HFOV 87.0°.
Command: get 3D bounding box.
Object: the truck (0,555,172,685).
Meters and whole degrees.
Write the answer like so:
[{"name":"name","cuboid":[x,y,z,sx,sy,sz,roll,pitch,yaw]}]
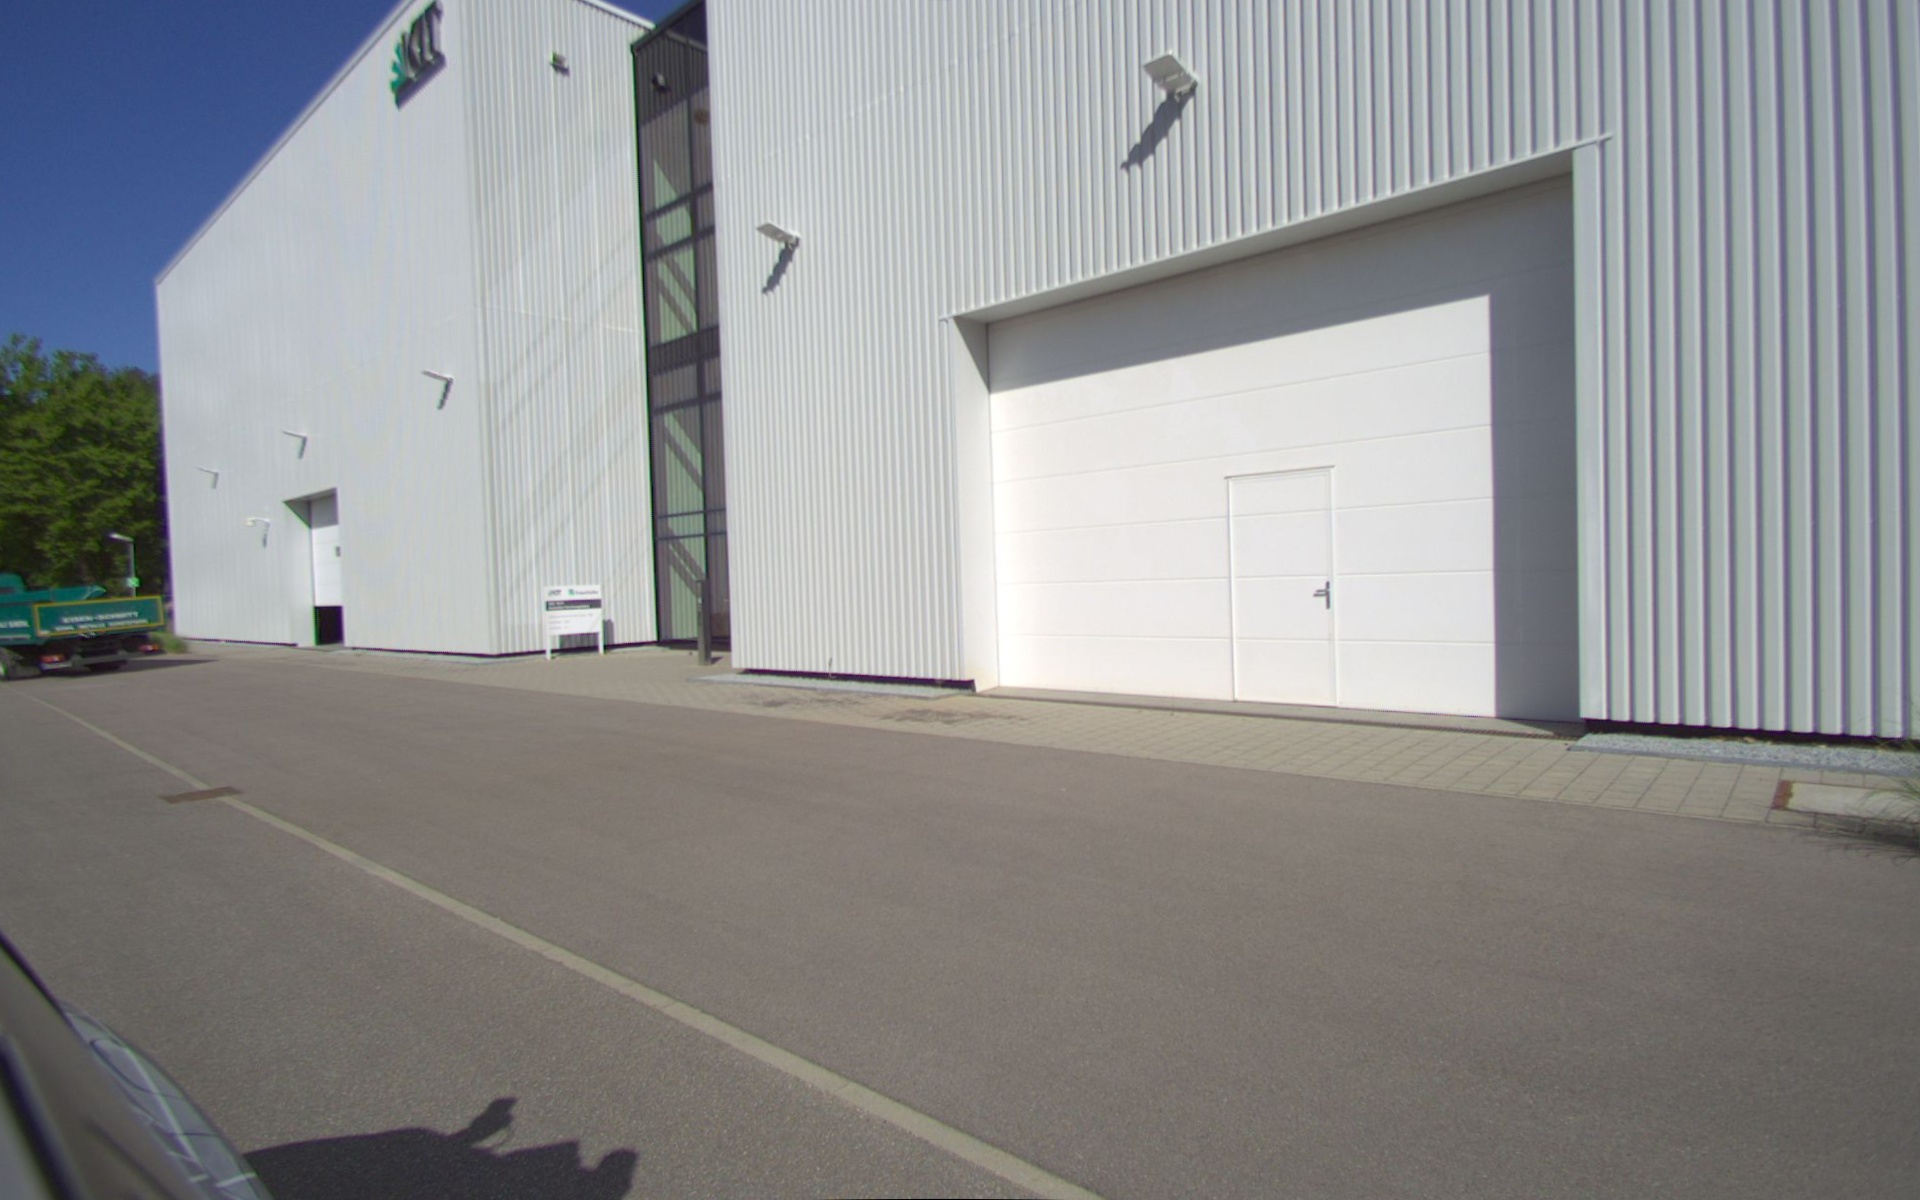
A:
[{"name":"truck","cuboid":[-23.657,0.529,25.363,9.655,2.736,2.564,-2,3,30]}]
